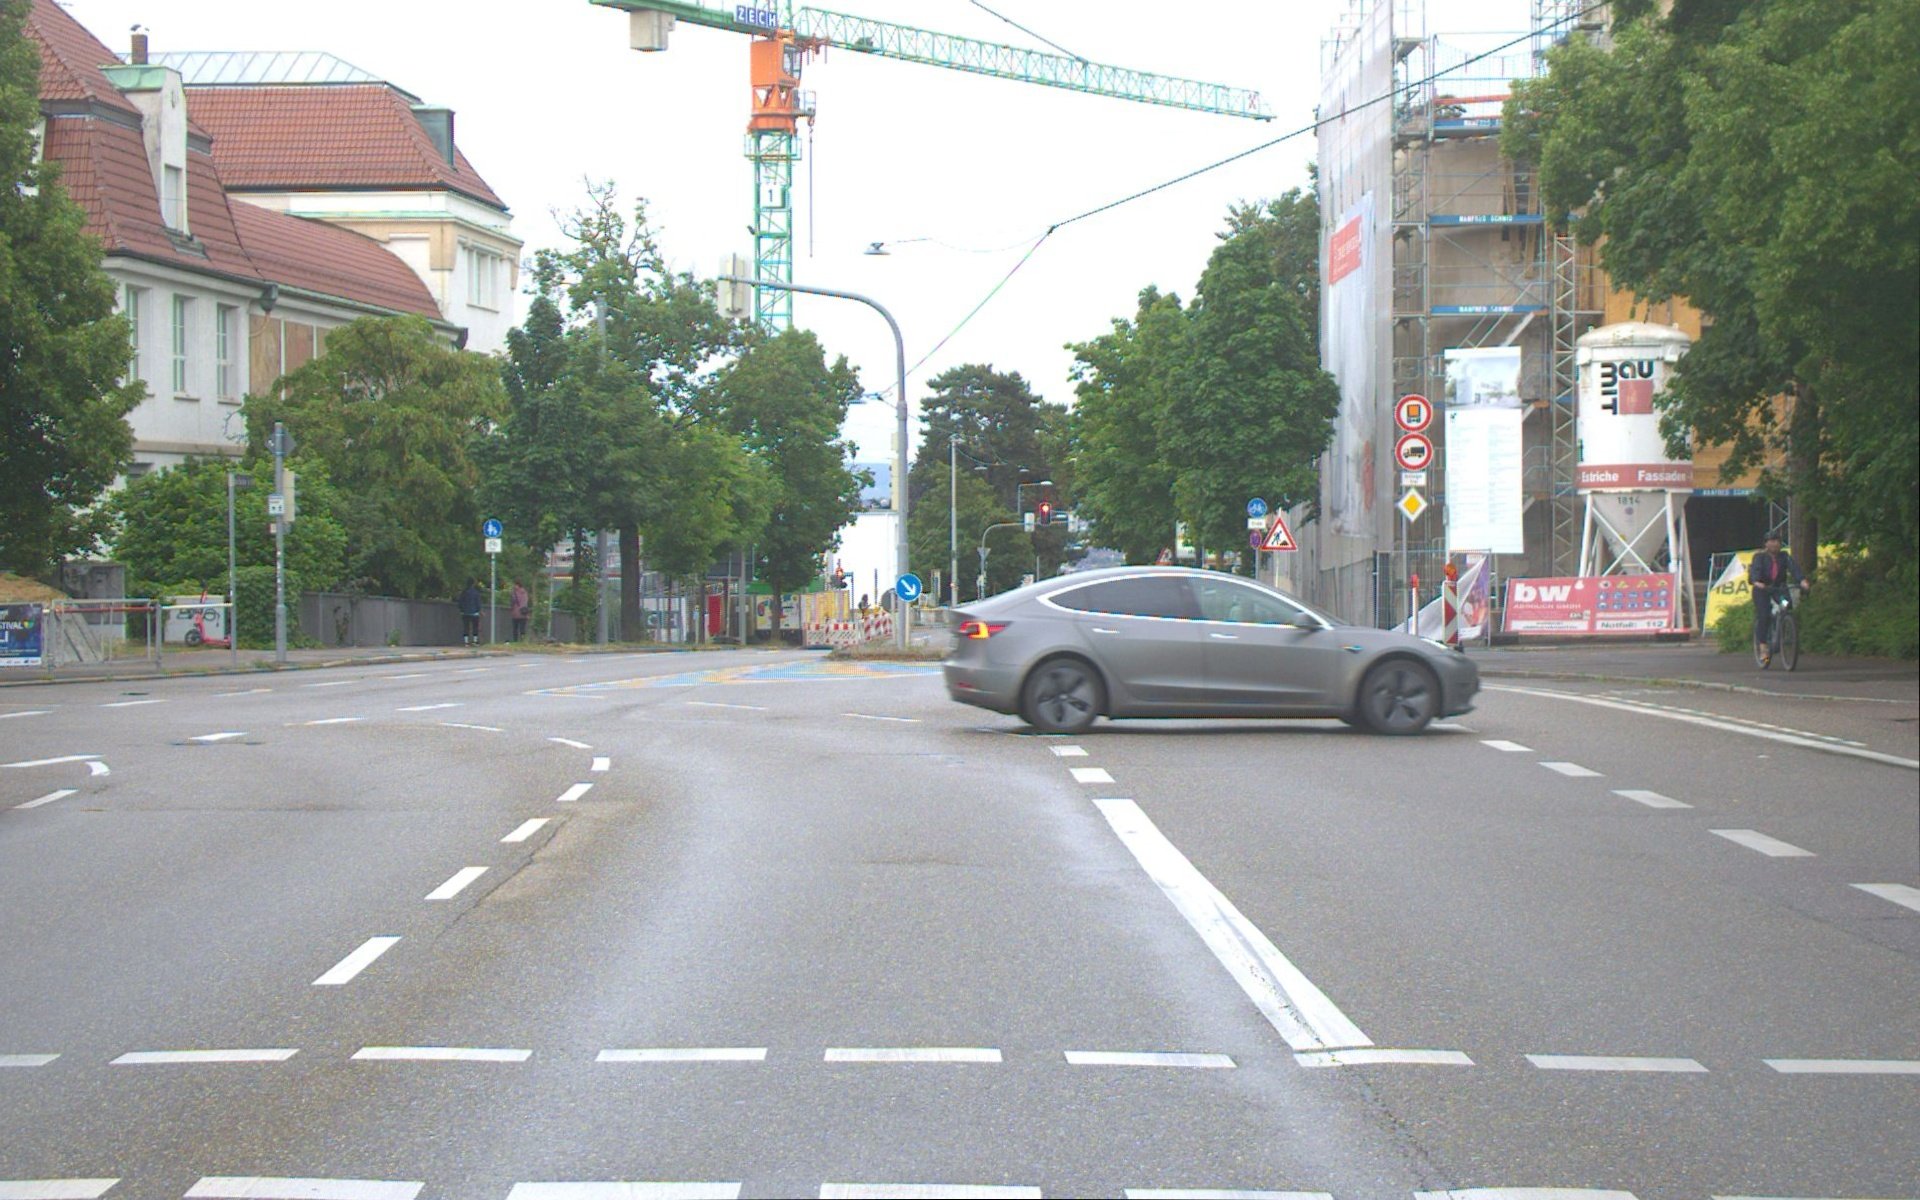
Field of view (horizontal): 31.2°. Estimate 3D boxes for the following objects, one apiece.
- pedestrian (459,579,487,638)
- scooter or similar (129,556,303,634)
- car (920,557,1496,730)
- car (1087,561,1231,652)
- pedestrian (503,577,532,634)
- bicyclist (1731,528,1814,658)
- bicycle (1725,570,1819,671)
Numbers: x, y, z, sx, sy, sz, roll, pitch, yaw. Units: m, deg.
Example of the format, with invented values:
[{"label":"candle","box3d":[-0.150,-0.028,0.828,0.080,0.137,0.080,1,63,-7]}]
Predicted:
[{"label":"pedestrian","box3d":[-11.878,0.207,83.806,0.587,1.424,0.467,1,-1,0]},{"label":"scooter or similar","box3d":[-14.123,-0.106,65.321,3.087,1.435,0.949,-1,1,-3]},{"label":"car","box3d":[2.088,0.358,29.945,4.769,1.420,2.000,0,1,-4]},{"label":"car","box3d":[3.268,0.080,57.180,1.993,1.420,4.520,0,1,-2]},{"label":"pedestrian","box3d":[-10.904,0.147,84.717,0.637,1.381,0.606,2,-1,-2]},{"label":"bicyclist","box3d":[9.958,-0.076,42.181,0.720,1.558,1.143,1,-1,1]},{"label":"bicycle","box3d":[9.961,0.260,42.212,0.720,1.189,1.756,1,-1,0]}]
